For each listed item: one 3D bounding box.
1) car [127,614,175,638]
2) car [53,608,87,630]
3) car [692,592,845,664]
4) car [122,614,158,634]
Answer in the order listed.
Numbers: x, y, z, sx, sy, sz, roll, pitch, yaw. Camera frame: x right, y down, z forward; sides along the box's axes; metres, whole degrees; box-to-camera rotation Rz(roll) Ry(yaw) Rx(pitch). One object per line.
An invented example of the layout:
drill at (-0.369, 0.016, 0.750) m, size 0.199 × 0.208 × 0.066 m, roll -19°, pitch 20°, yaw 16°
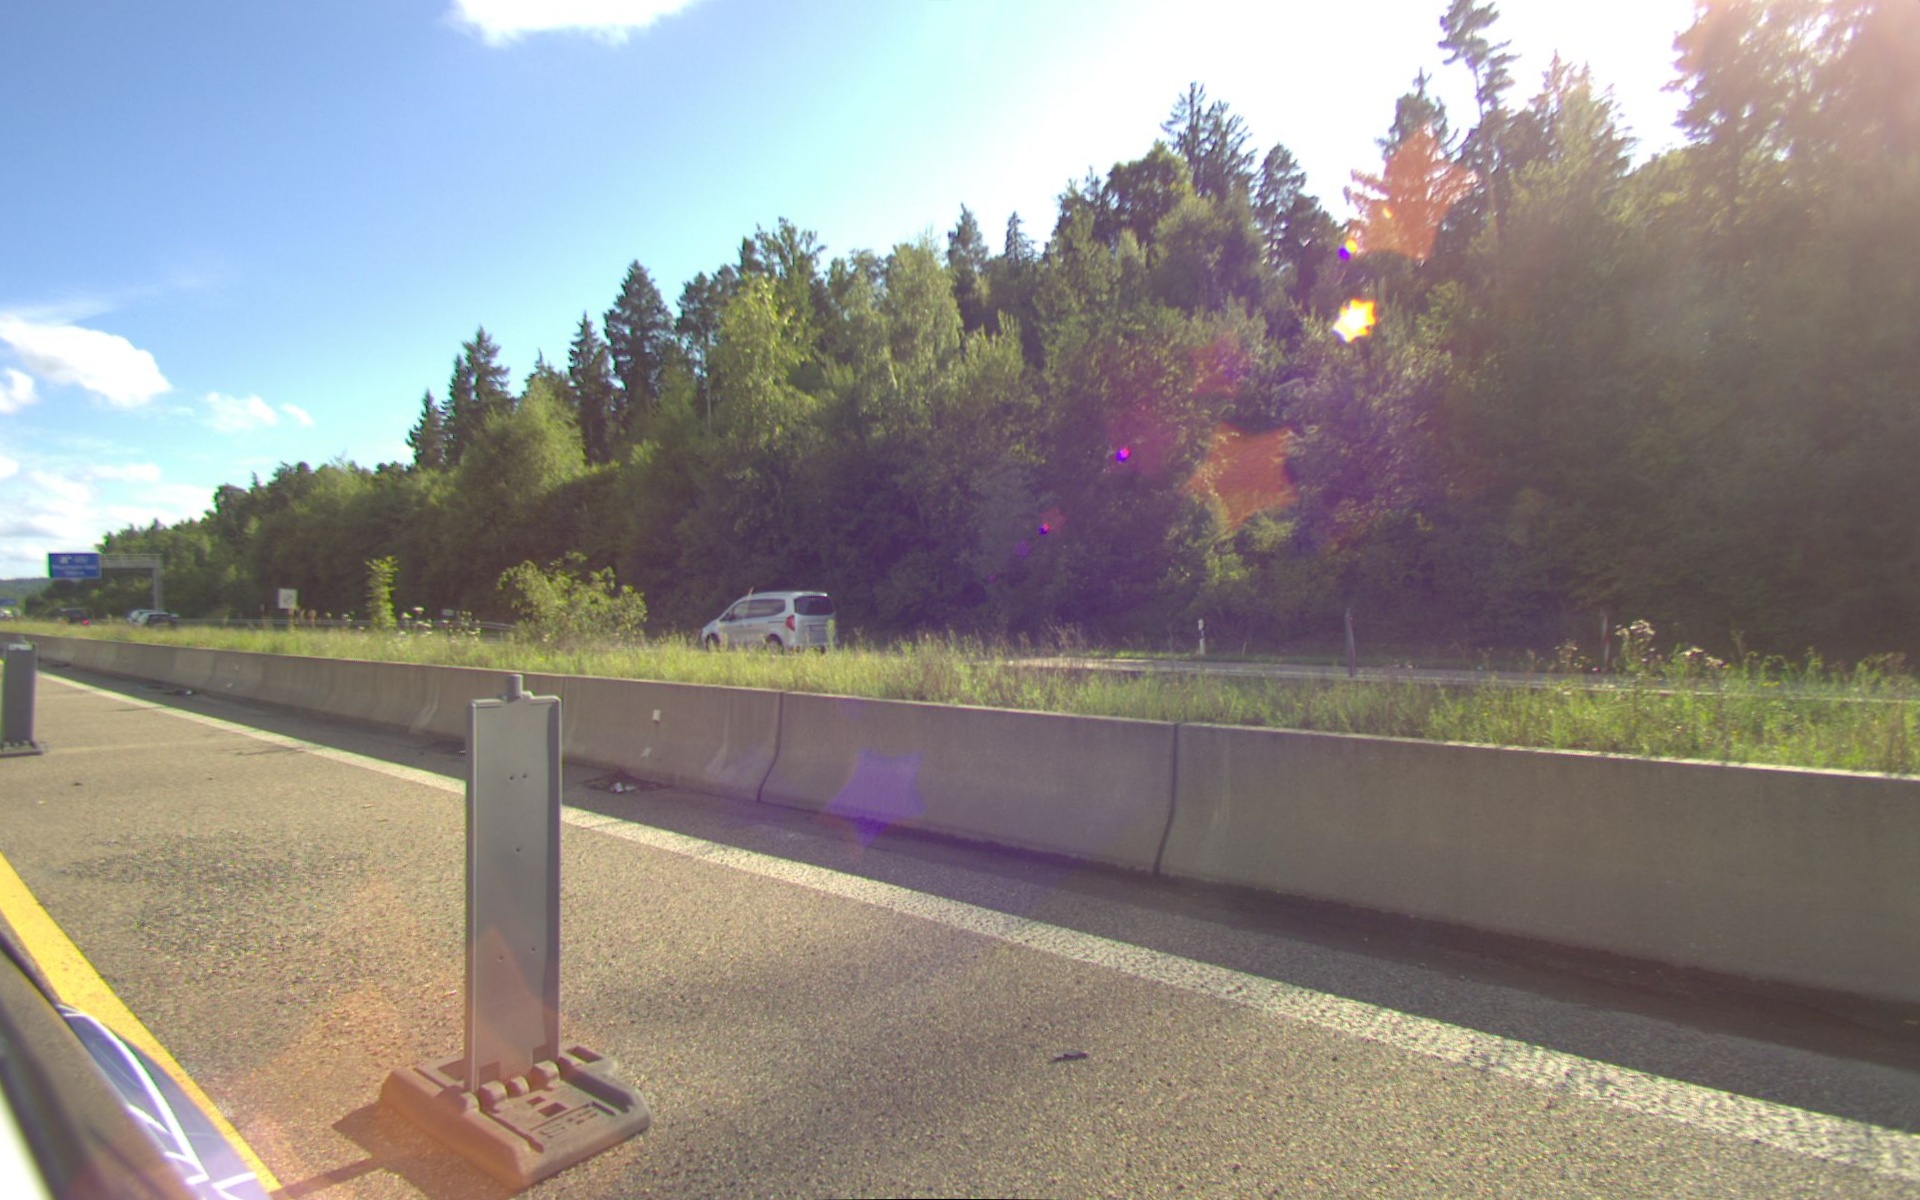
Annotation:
car at (-52.831, 1.679, 66.069) m, size 4.102 × 1.467 × 1.759 m, roll -1°, pitch 0°, yaw 41°
car at (-81.668, 1.748, 92.880) m, size 4.615 × 1.917 × 1.759 m, roll -1°, pitch 0°, yaw 41°
car at (-5.234, 0.712, 27.353) m, size 4.363 × 1.799 × 1.759 m, roll -1°, pitch 0°, yaw 41°
car at (-72.813, 2.088, 89.816) m, size 4.615 × 1.701 × 1.759 m, roll -1°, pitch 0°, yaw 41°
